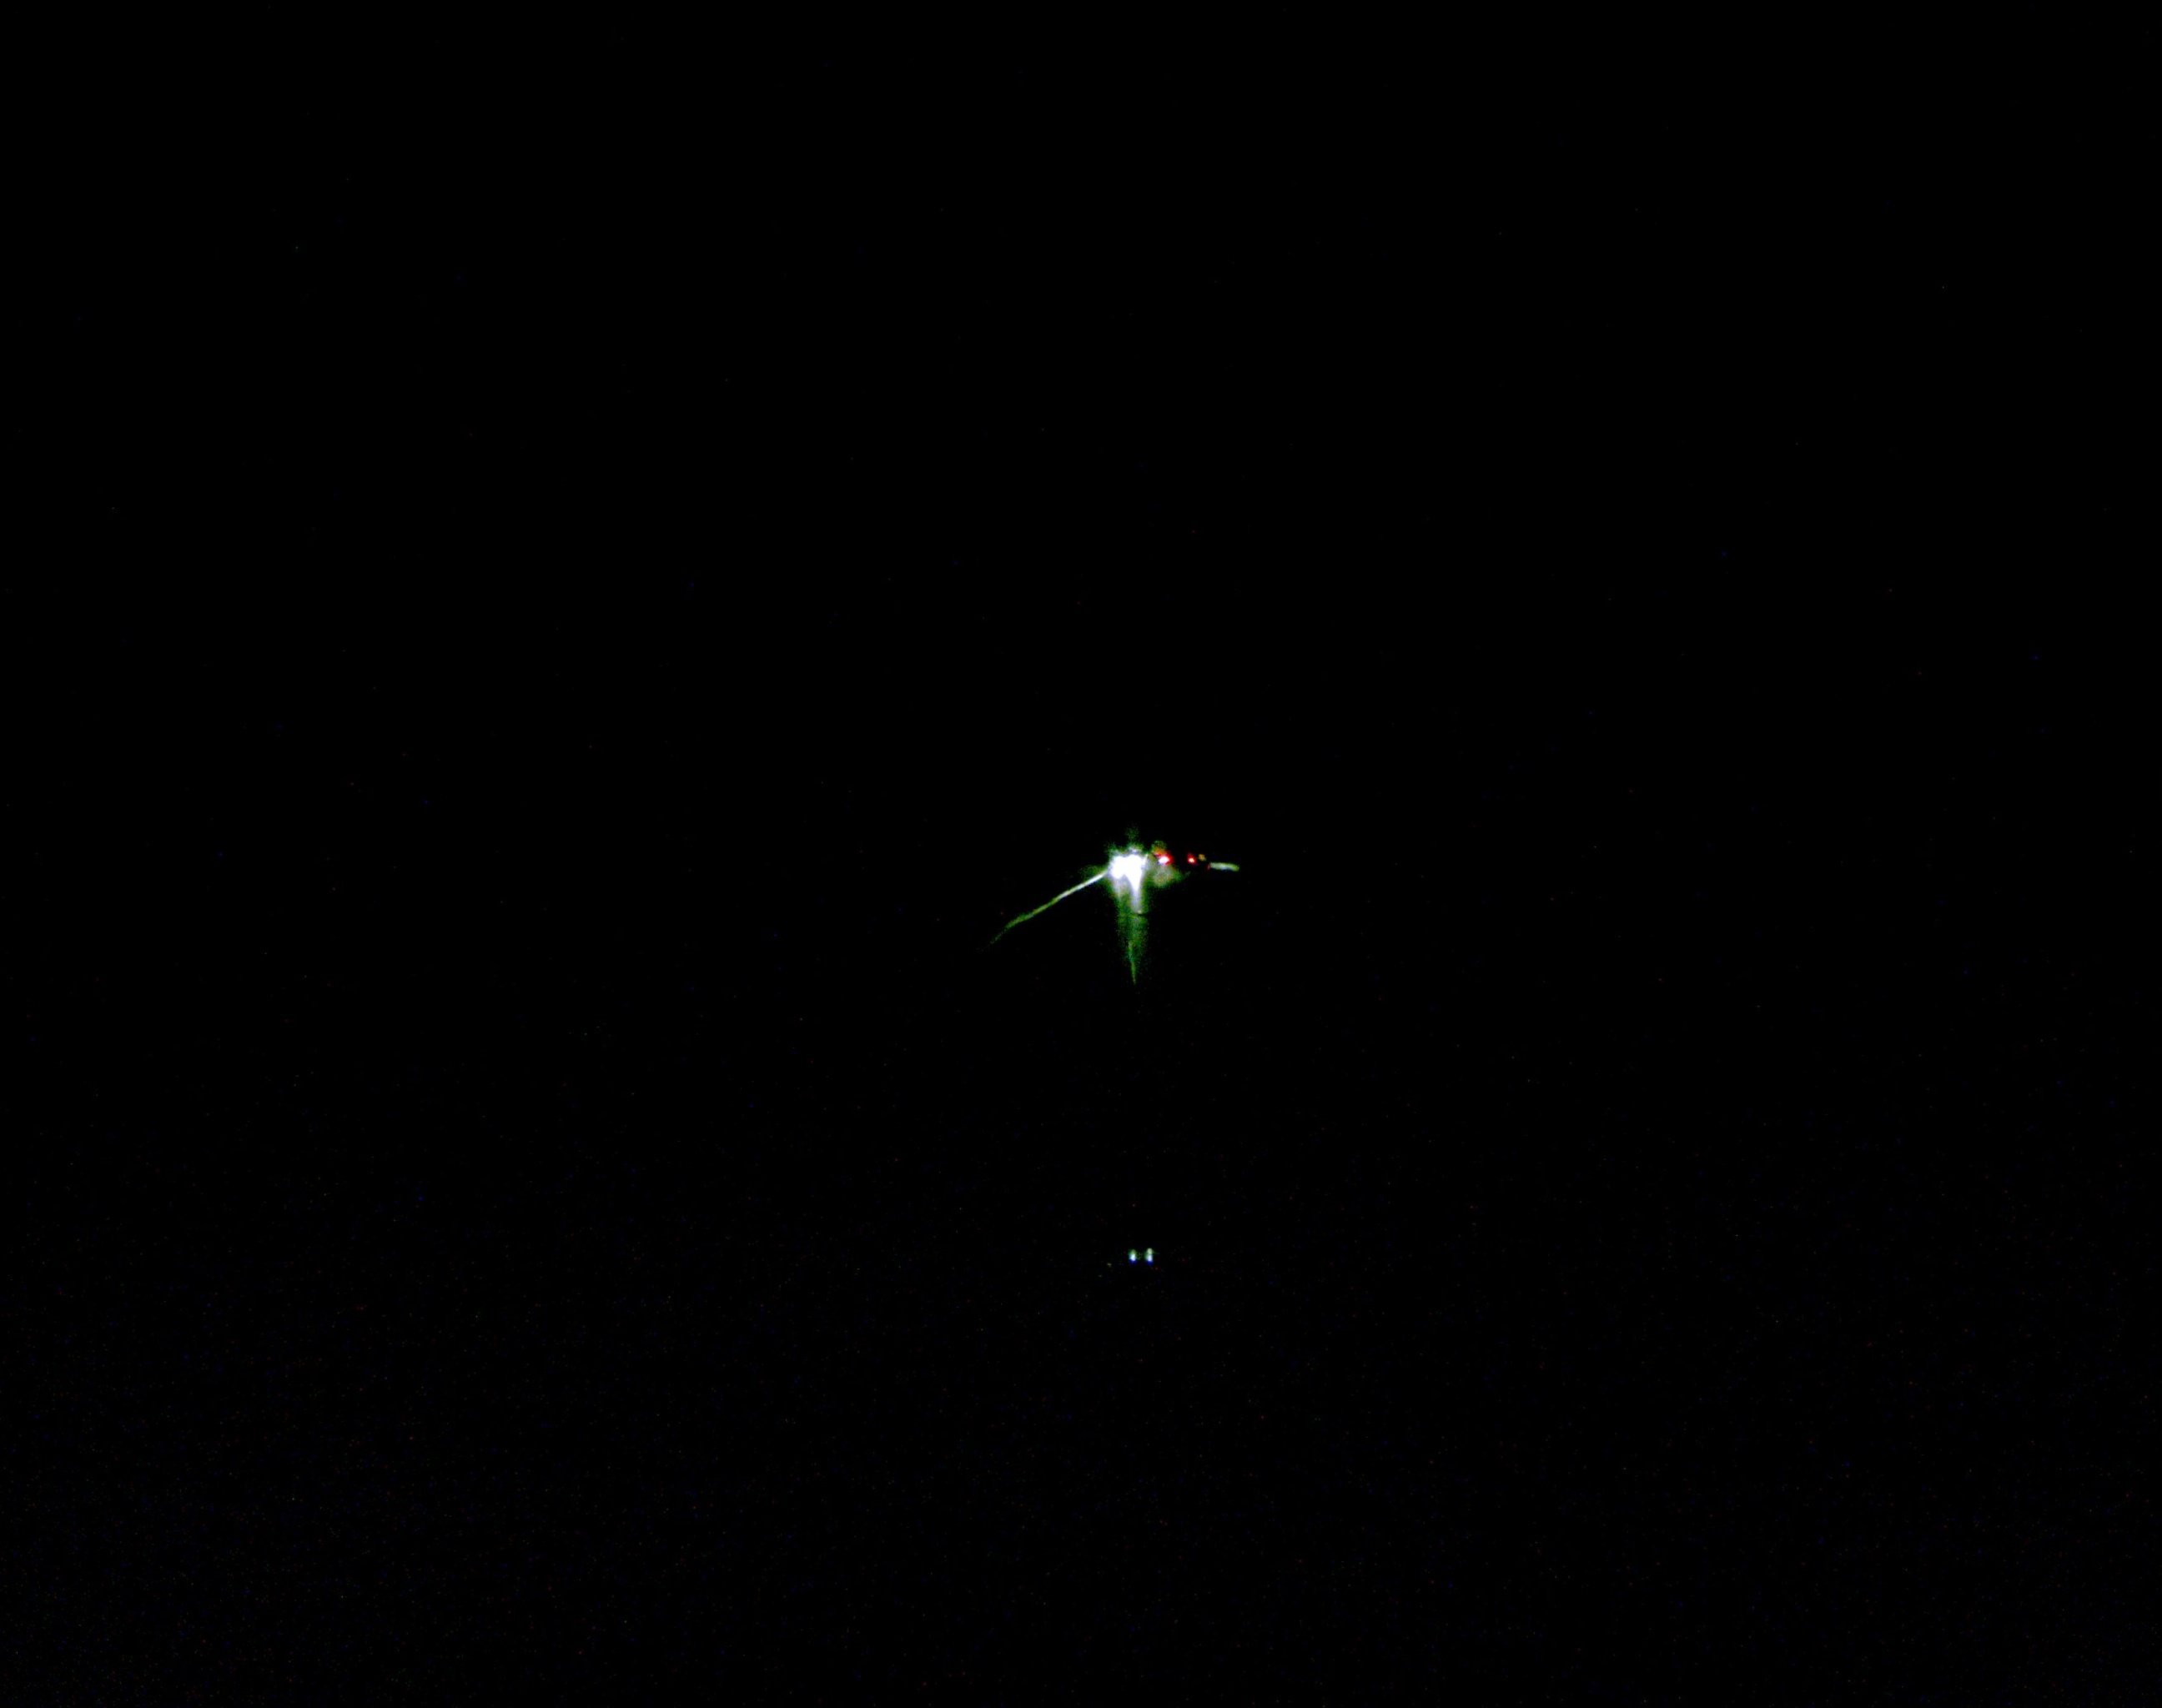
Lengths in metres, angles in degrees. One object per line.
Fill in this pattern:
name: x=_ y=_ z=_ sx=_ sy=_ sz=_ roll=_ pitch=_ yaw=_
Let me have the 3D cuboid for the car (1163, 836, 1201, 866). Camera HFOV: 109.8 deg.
car: x=6.446 y=-0.219 z=48.862 sx=1.998 sy=1.740 sz=4.258 roll=-3 pitch=1 yaw=3

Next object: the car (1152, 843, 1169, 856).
car: x=10.267 y=-0.569 z=98.133 sx=1.998 sy=1.475 sz=3.216 roll=-3 pitch=1 yaw=3

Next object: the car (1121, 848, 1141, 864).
car: x=4.829 y=0.168 z=72.658 sx=1.807 sy=1.452 sz=4.276 roll=-3 pitch=1 yaw=5
